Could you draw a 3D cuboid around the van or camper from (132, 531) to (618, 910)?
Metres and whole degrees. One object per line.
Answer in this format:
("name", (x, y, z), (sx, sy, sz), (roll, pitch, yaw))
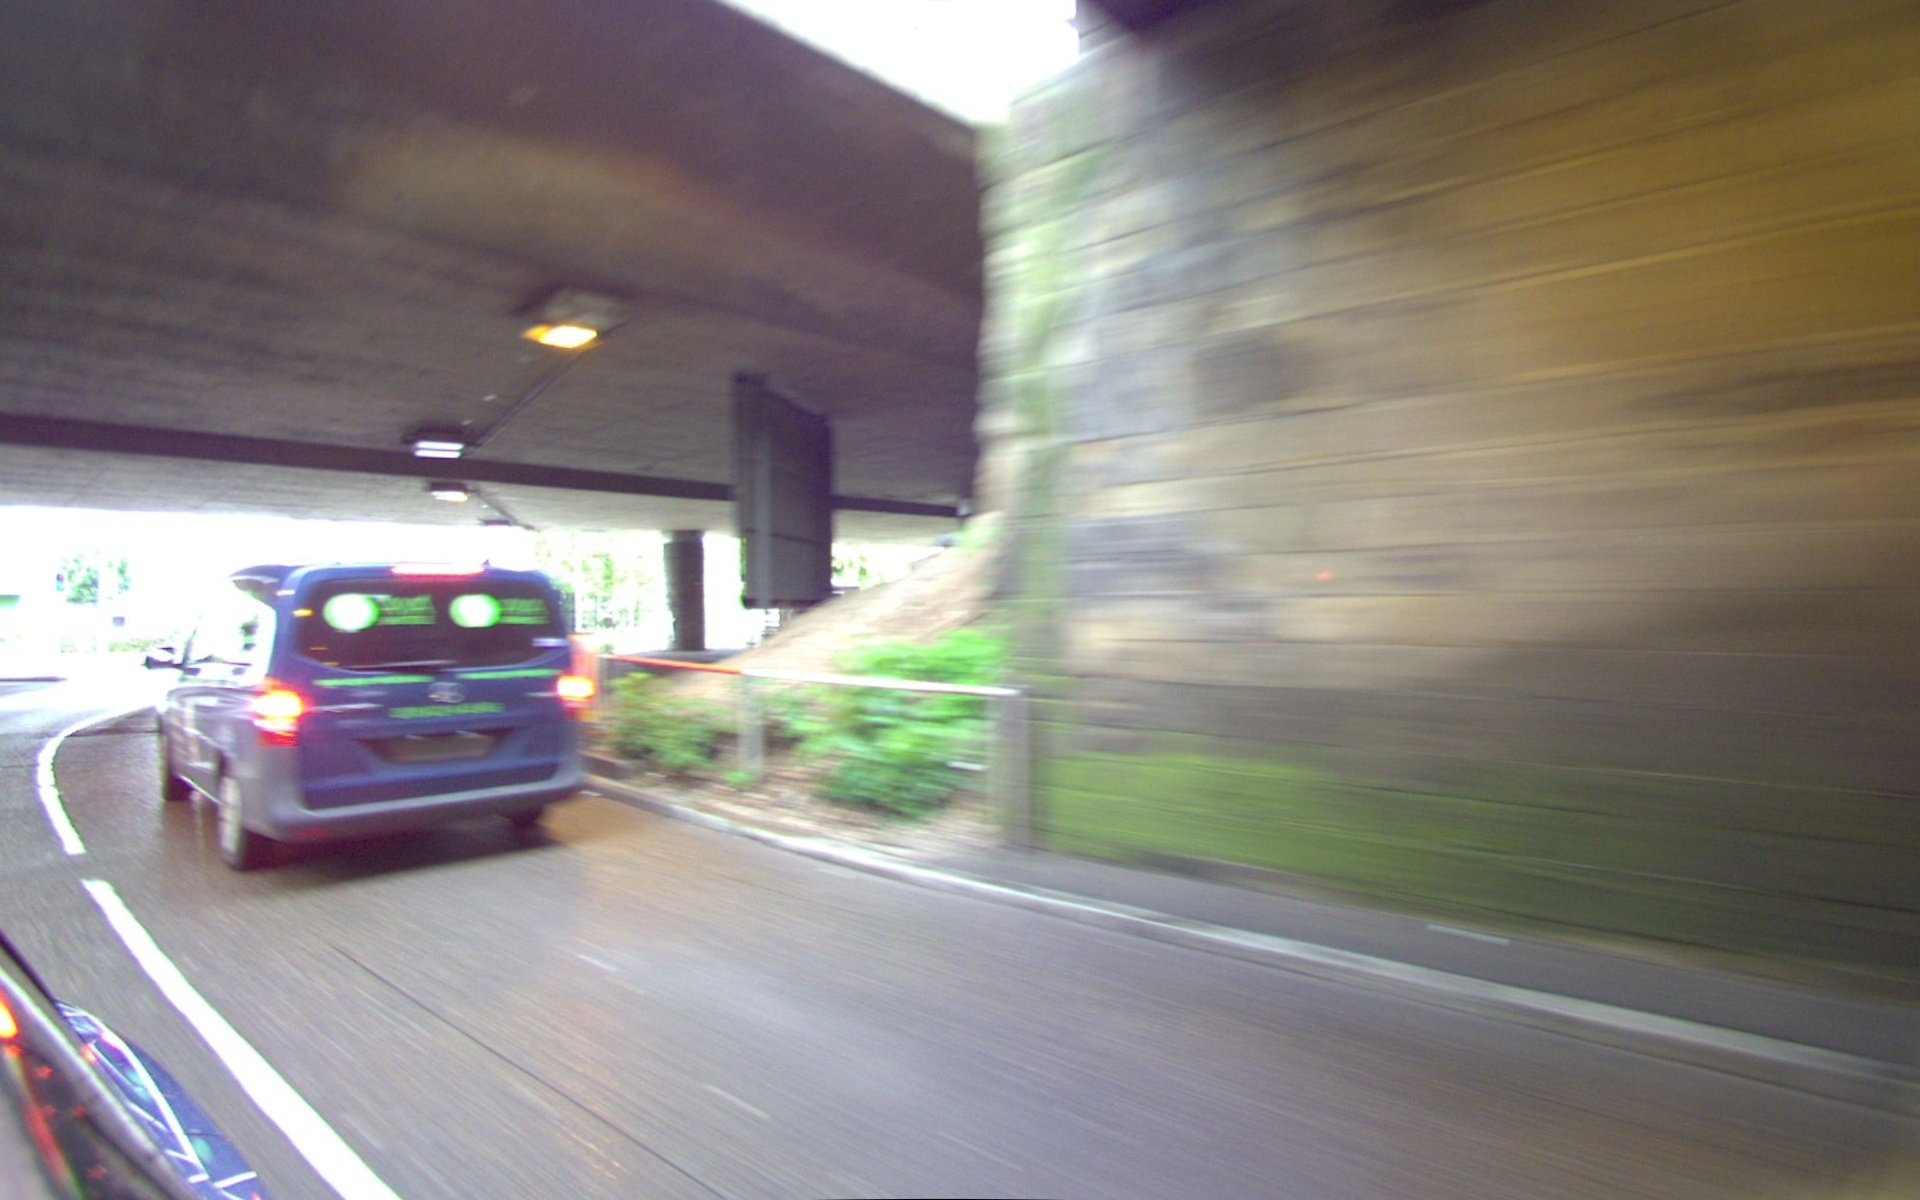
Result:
("van or camper", (-4.659, 0.633, 7.579), (1.970, 1.882, 5.143), (1, -1, -44))

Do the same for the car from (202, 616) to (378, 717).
("car", (-12.267, 1.139, 18.851), (1.965, 1.541, 4.515), (-2, -1, -24))

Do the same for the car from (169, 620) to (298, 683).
("car", (-19.595, 1.396, 27.486), (1.679, 1.569, 4.012), (0, -3, -18))

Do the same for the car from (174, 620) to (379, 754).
("car", (-9.137, 1.022, 13.582), (1.967, 1.476, 4.116), (1, -1, -35))
